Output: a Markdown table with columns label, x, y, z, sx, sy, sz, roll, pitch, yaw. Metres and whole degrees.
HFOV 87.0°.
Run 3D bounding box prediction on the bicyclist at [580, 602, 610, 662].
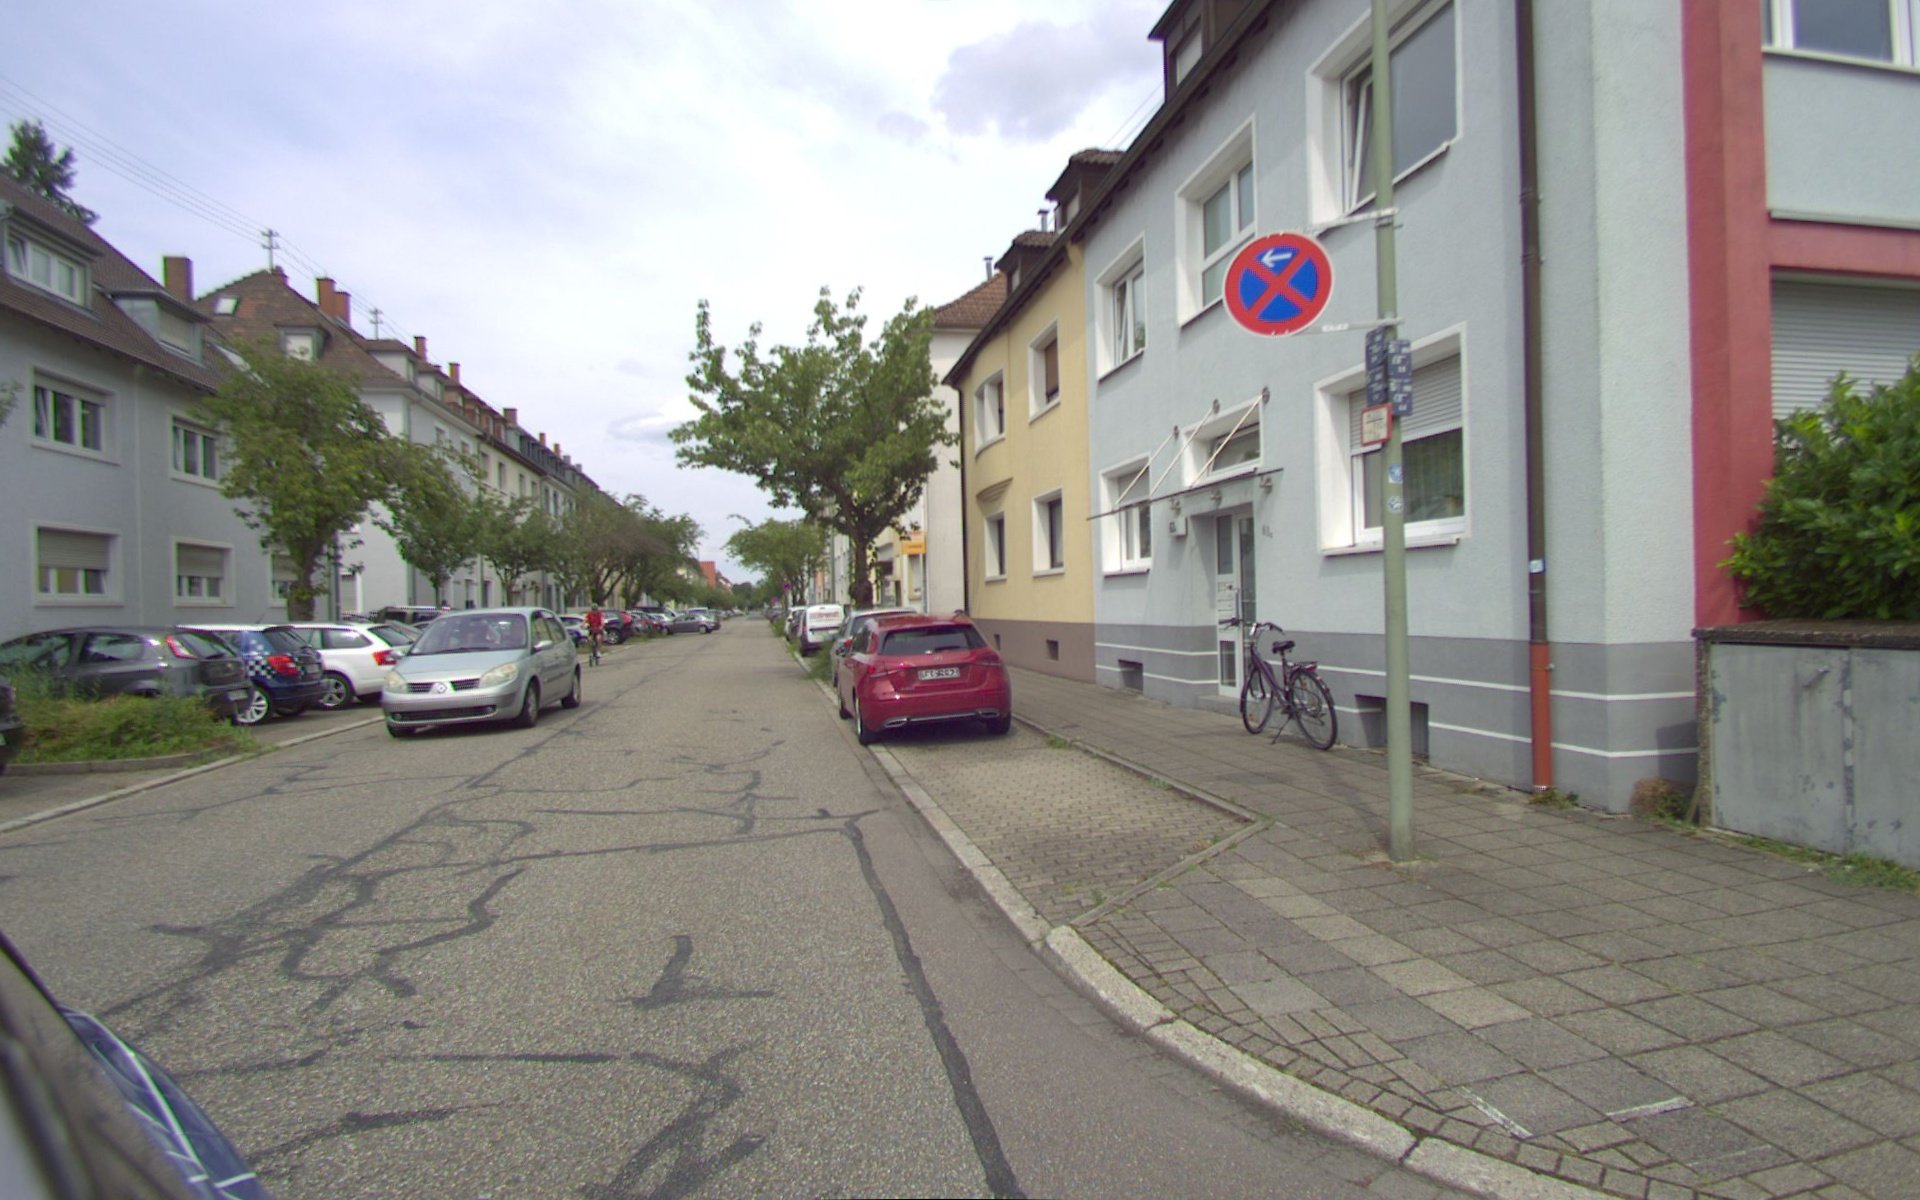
| label | x | y | z | sx | sy | sz | roll | pitch | yaw |
| --- | --- | --- | --- | --- | --- | --- | --- | --- | --- |
| bicyclist | -11.170 | 0.971 | 30.996 | 0.683 | 1.783 | 0.989 | -2 | 0 | -12 |

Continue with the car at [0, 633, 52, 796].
| label | x | y | z | sx | sy | sz | roll | pitch | yaw |
| --- | --- | --- | --- | --- | --- | --- | --- | --- | --- |
| car | -10.416 | 1.009 | 8.415 | 3.934 | 1.432 | 1.716 | 0 | -1 | -11 |

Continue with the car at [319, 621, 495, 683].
| label | x | y | z | sx | sy | sz | roll | pitch | yaw |
| --- | --- | --- | --- | --- | --- | --- | --- | --- | --- |
| car | -13.811 | 1.264 | 25.493 | 3.575 | 1.465 | 1.778 | 0 | -1 | -15 |

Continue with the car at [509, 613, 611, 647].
| label | x | y | z | sx | sy | sz | roll | pitch | yaw |
| --- | --- | --- | --- | --- | --- | --- | --- | --- | --- |
| car | -17.290 | 1.295 | 43.907 | 3.933 | 1.421 | 1.773 | 0 | -1 | -14 |

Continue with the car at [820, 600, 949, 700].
| label | x | y | z | sx | sy | sz | roll | pitch | yaw |
| --- | --- | --- | --- | --- | --- | --- | --- | --- | --- |
| car | -1.517 | 0.831 | 18.691 | 1.749 | 1.402 | 4.284 | -7 | 1 | -11 |

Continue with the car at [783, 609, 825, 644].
| label | x | y | z | sx | sy | sz | roll | pitch | yaw |
| --- | --- | --- | --- | --- | --- | --- | --- | --- | --- |
| car | -7.490 | 1.233 | 48.263 | 1.734 | 1.568 | 4.266 | -1 | 0 | -12 |

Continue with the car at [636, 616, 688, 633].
| label | x | y | z | sx | sy | sz | roll | pitch | yaw |
| --- | --- | --- | --- | --- | --- | --- | --- | --- | --- |
| car | -27.385 | 2.253 | 92.980 | 4.486 | 1.521 | 1.855 | 0 | -1 | -13 |

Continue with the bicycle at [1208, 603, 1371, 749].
| label | x | y | z | sx | sy | sz | roll | pitch | yaw |
| --- | --- | --- | --- | --- | --- | --- | --- | --- | --- |
| bicycle | 2.916 | 0.626 | 9.165 | 0.484 | 1.161 | 1.878 | -2 | 0 | -12 |

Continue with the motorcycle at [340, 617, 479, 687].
| label | x | y | z | sx | sy | sz | roll | pitch | yaw |
| --- | --- | --- | --- | --- | --- | --- | --- | --- | --- |
| motorcycle | -12.804 | 1.186 | 23.640 | 2.664 | 1.475 | 1.034 | -1 | -1 | -15 |

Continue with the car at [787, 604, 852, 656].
| label | x | y | z | sx | sy | sz | roll | pitch | yaw |
| --- | --- | --- | --- | --- | --- | --- | --- | --- | --- |
| car | -4.762 | 0.966 | 33.846 | 1.893 | 1.593 | 4.392 | 0 | -1 | -11 |

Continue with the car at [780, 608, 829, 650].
| label | x | y | z | sx | sy | sz | roll | pitch | yaw |
| --- | --- | --- | --- | --- | --- | --- | --- | --- | --- |
| car | -6.475 | 1.146 | 41.769 | 1.767 | 1.503 | 4.823 | -2 | 0 | -11 |

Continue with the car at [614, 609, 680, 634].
| label | x | y | z | sx | sy | sz | roll | pitch | yaw |
| --- | --- | --- | --- | --- | --- | --- | --- | --- | --- |
| car | -25.988 | 1.761 | 84.153 | 5.157 | 2.038 | 2.079 | 0 | -1 | -15 |

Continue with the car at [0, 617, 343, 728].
| label | x | y | z | sx | sy | sz | roll | pitch | yaw |
| --- | --- | --- | --- | --- | --- | --- | --- | --- | --- |
| car | -11.695 | 1.023 | 15.052 | 3.934 | 1.519 | 1.716 | 0 | -1 | -11 |

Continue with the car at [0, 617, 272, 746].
| label | x | y | z | sx | sy | sz | roll | pitch | yaw |
| --- | --- | --- | --- | --- | --- | --- | --- | --- | --- |
| car | -11.340 | 0.978 | 12.869 | 3.934 | 1.519 | 1.716 | 0 | -1 | -11 |

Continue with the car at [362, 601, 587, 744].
| label | x | y | z | sx | sy | sz | roll | pitch | yaw |
| --- | --- | --- | --- | --- | --- | --- | --- | --- | --- |
| car | -6.622 | 0.881 | 14.382 | 1.760 | 1.616 | 4.847 | -2 | 0 | -12 |

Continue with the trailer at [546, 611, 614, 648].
| label | x | y | z | sx | sy | sz | roll | pitch | yaw |
| --- | --- | --- | --- | --- | --- | --- | --- | --- | --- |
| trailer | -19.060 | 1.480 | 50.832 | 2.923 | 1.845 | 1.403 | 0 | -1 | -7 |

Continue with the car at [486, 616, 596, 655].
| label | x | y | z | sx | sy | sz | roll | pitch | yaw |
| --- | --- | --- | --- | --- | --- | --- | --- | --- | --- |
| car | -17.022 | 1.436 | 41.282 | 3.933 | 1.541 | 1.773 | 0 | -1 | -14 |

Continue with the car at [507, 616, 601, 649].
| label | x | y | z | sx | sy | sz | roll | pitch | yaw |
| --- | --- | --- | --- | --- | --- | --- | --- | --- | --- |
| car | -18.463 | 1.486 | 46.188 | 3.699 | 1.452 | 1.869 | 0 | -1 | -10 |

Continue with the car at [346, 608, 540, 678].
| label | x | y | z | sx | sy | sz | roll | pitch | yaw |
| --- | --- | --- | --- | --- | --- | --- | --- | --- | --- |
| car | -14.334 | 1.178 | 28.283 | 4.467 | 1.872 | 1.796 | 0 | -1 | -8 |

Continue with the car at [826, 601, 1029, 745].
| label | x | y | z | sx | sy | sz | roll | pitch | yaw |
| --- | --- | --- | --- | --- | --- | --- | --- | --- | --- |
| car | -0.617 | 0.794 | 12.949 | 1.852 | 1.497 | 4.523 | 0 | -1 | -11 |

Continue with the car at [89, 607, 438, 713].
| label | x | y | z | sx | sy | sz | roll | pitch | yaw |
| --- | --- | --- | --- | --- | --- | --- | --- | --- | --- |
| car | -11.715 | 0.976 | 17.362 | 4.554 | 1.676 | 1.896 | 0 | -1 | -10 |

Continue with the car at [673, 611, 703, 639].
| label | x | y | z | sx | sy | sz | roll | pitch | yaw |
| --- | --- | --- | --- | --- | --- | --- | --- | --- | --- |
| car | -20.706 | 1.873 | 77.175 | 1.967 | 1.929 | 4.716 | -3 | 0 | -13 |

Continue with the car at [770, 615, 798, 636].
| label | x | y | z | sx | sy | sz | roll | pitch | yaw |
| --- | --- | --- | --- | --- | --- | --- | --- | --- | --- |
| car | -14.286 | 2.055 | 82.026 | 1.812 | 1.495 | 4.132 | -4 | 0 | -13 |

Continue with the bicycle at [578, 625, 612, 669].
| label | x | y | z | sx | sy | sz | roll | pitch | yaw |
| --- | --- | --- | --- | --- | --- | --- | --- | --- | --- |
| bicycle | -11.174 | 1.422 | 31.012 | 0.682 | 1.237 | 1.941 | -2 | 0 | -12 |
